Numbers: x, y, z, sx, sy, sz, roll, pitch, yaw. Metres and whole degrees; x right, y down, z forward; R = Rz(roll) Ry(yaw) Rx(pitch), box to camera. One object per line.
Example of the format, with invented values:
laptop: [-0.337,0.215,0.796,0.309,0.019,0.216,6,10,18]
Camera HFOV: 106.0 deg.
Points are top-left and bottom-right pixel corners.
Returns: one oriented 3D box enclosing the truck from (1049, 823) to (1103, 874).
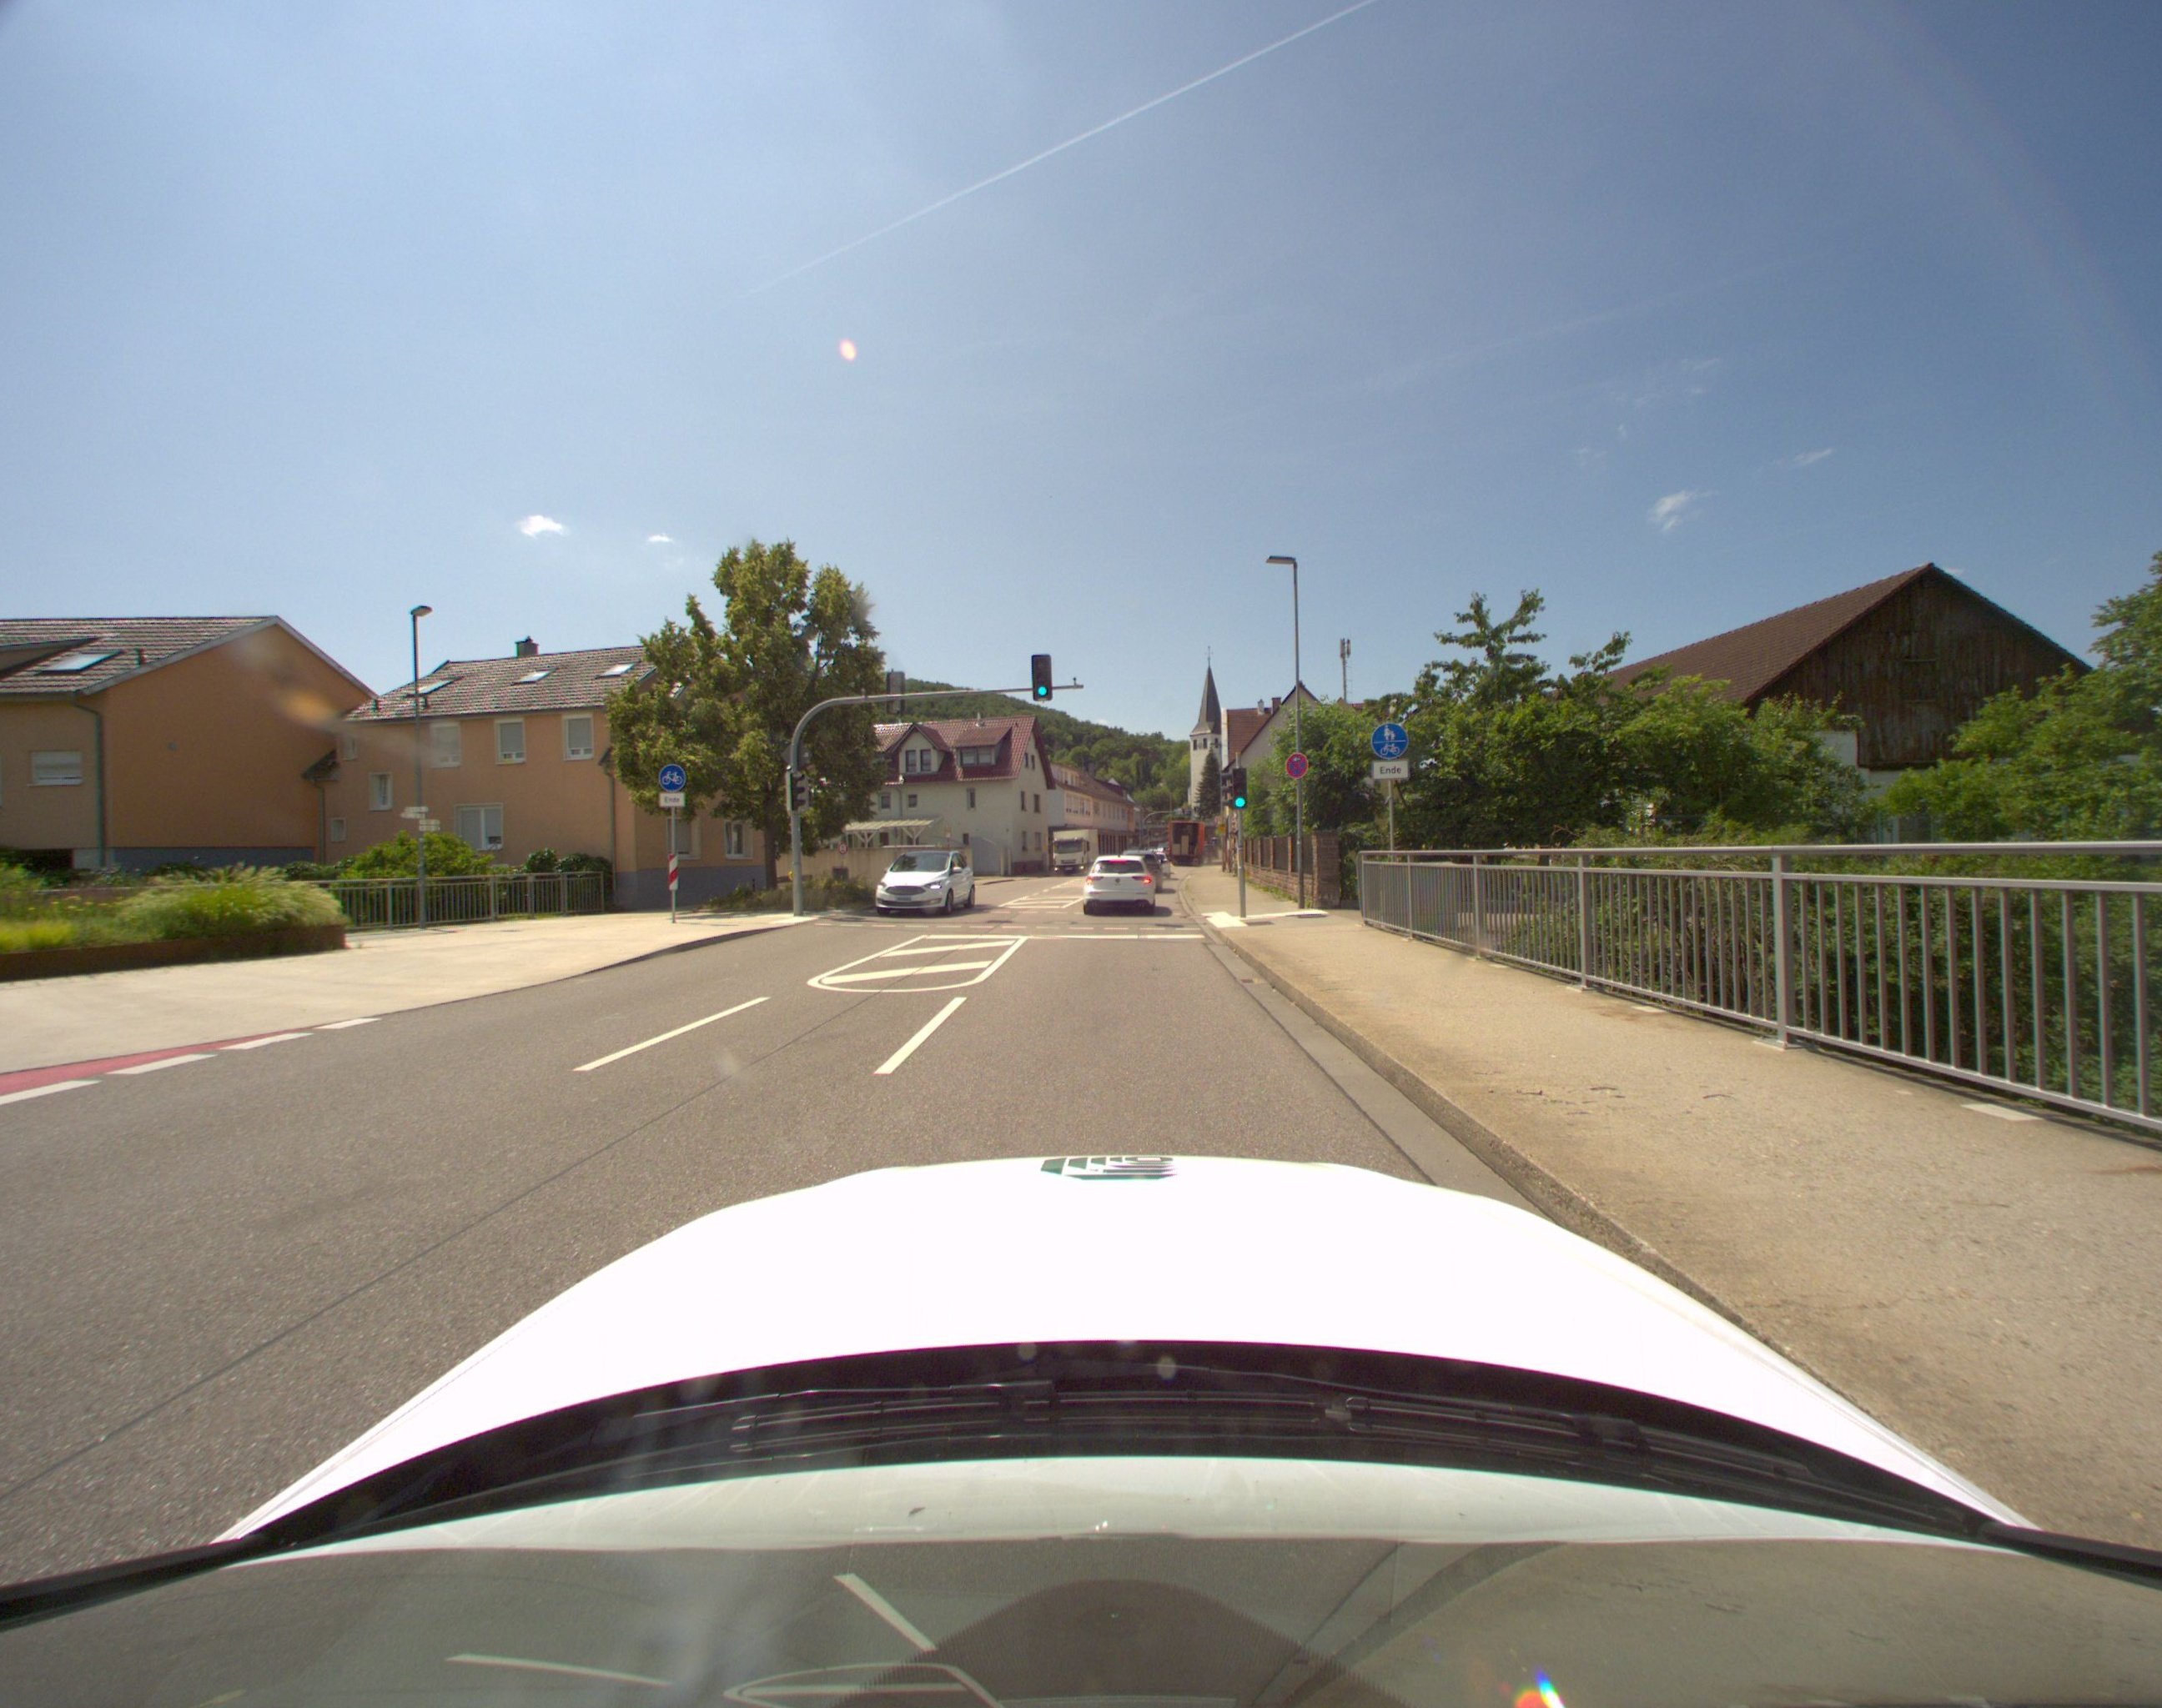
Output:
truck: [-0.253,-0.372,56.034,2.486,3.235,6.058,-3,-1,11]

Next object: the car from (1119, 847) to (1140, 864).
car: [5.006,0.175,83.883,1.728,1.651,3.679,-1,0,10]

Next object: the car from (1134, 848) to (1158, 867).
car: [5.560,0.301,68.892,1.806,1.519,4.007,-3,-1,6]

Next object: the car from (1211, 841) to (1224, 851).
car: [22.471,-1.238,134.291,1.806,1.519,4.007,-3,-1,6]

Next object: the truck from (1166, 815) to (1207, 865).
truck: [9.941,-1.212,76.082,3.347,4.170,9.542,-3,-1,9]

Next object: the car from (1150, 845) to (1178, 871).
car: [5.763,0.291,56.349,1.806,1.628,4.007,-3,-1,6]

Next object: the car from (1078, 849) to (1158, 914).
car: [1.056,0.665,21.262,1.806,1.519,4.007,0,0,6]

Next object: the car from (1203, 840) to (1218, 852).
car: [18.647,-1.107,117.440,1.806,1.519,4.007,-3,-1,6]

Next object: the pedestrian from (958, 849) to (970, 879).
pedestrian: [-6.841,0.586,47.648,0.430,1.764,0.560,-2,0,25]

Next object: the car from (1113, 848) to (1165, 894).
car: [2.335,0.629,32.056,1.806,1.628,4.007,-3,-1,6]

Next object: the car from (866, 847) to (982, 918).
car: [-3.918,0.669,21.049,1.806,1.649,4.007,0,0,6]

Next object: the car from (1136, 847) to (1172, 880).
car: [4.091,0.506,44.920,1.806,1.628,4.007,-3,-1,6]

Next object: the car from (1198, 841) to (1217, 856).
car: [14.076,-0.594,90.851,1.806,1.519,4.007,-3,-1,6]

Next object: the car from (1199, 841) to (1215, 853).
car: [16.308,-0.888,105.373,1.806,1.519,4.007,-3,-1,6]

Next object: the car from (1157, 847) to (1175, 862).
car: [8.986,0.080,85.666,1.806,1.519,4.007,-3,-1,6]
